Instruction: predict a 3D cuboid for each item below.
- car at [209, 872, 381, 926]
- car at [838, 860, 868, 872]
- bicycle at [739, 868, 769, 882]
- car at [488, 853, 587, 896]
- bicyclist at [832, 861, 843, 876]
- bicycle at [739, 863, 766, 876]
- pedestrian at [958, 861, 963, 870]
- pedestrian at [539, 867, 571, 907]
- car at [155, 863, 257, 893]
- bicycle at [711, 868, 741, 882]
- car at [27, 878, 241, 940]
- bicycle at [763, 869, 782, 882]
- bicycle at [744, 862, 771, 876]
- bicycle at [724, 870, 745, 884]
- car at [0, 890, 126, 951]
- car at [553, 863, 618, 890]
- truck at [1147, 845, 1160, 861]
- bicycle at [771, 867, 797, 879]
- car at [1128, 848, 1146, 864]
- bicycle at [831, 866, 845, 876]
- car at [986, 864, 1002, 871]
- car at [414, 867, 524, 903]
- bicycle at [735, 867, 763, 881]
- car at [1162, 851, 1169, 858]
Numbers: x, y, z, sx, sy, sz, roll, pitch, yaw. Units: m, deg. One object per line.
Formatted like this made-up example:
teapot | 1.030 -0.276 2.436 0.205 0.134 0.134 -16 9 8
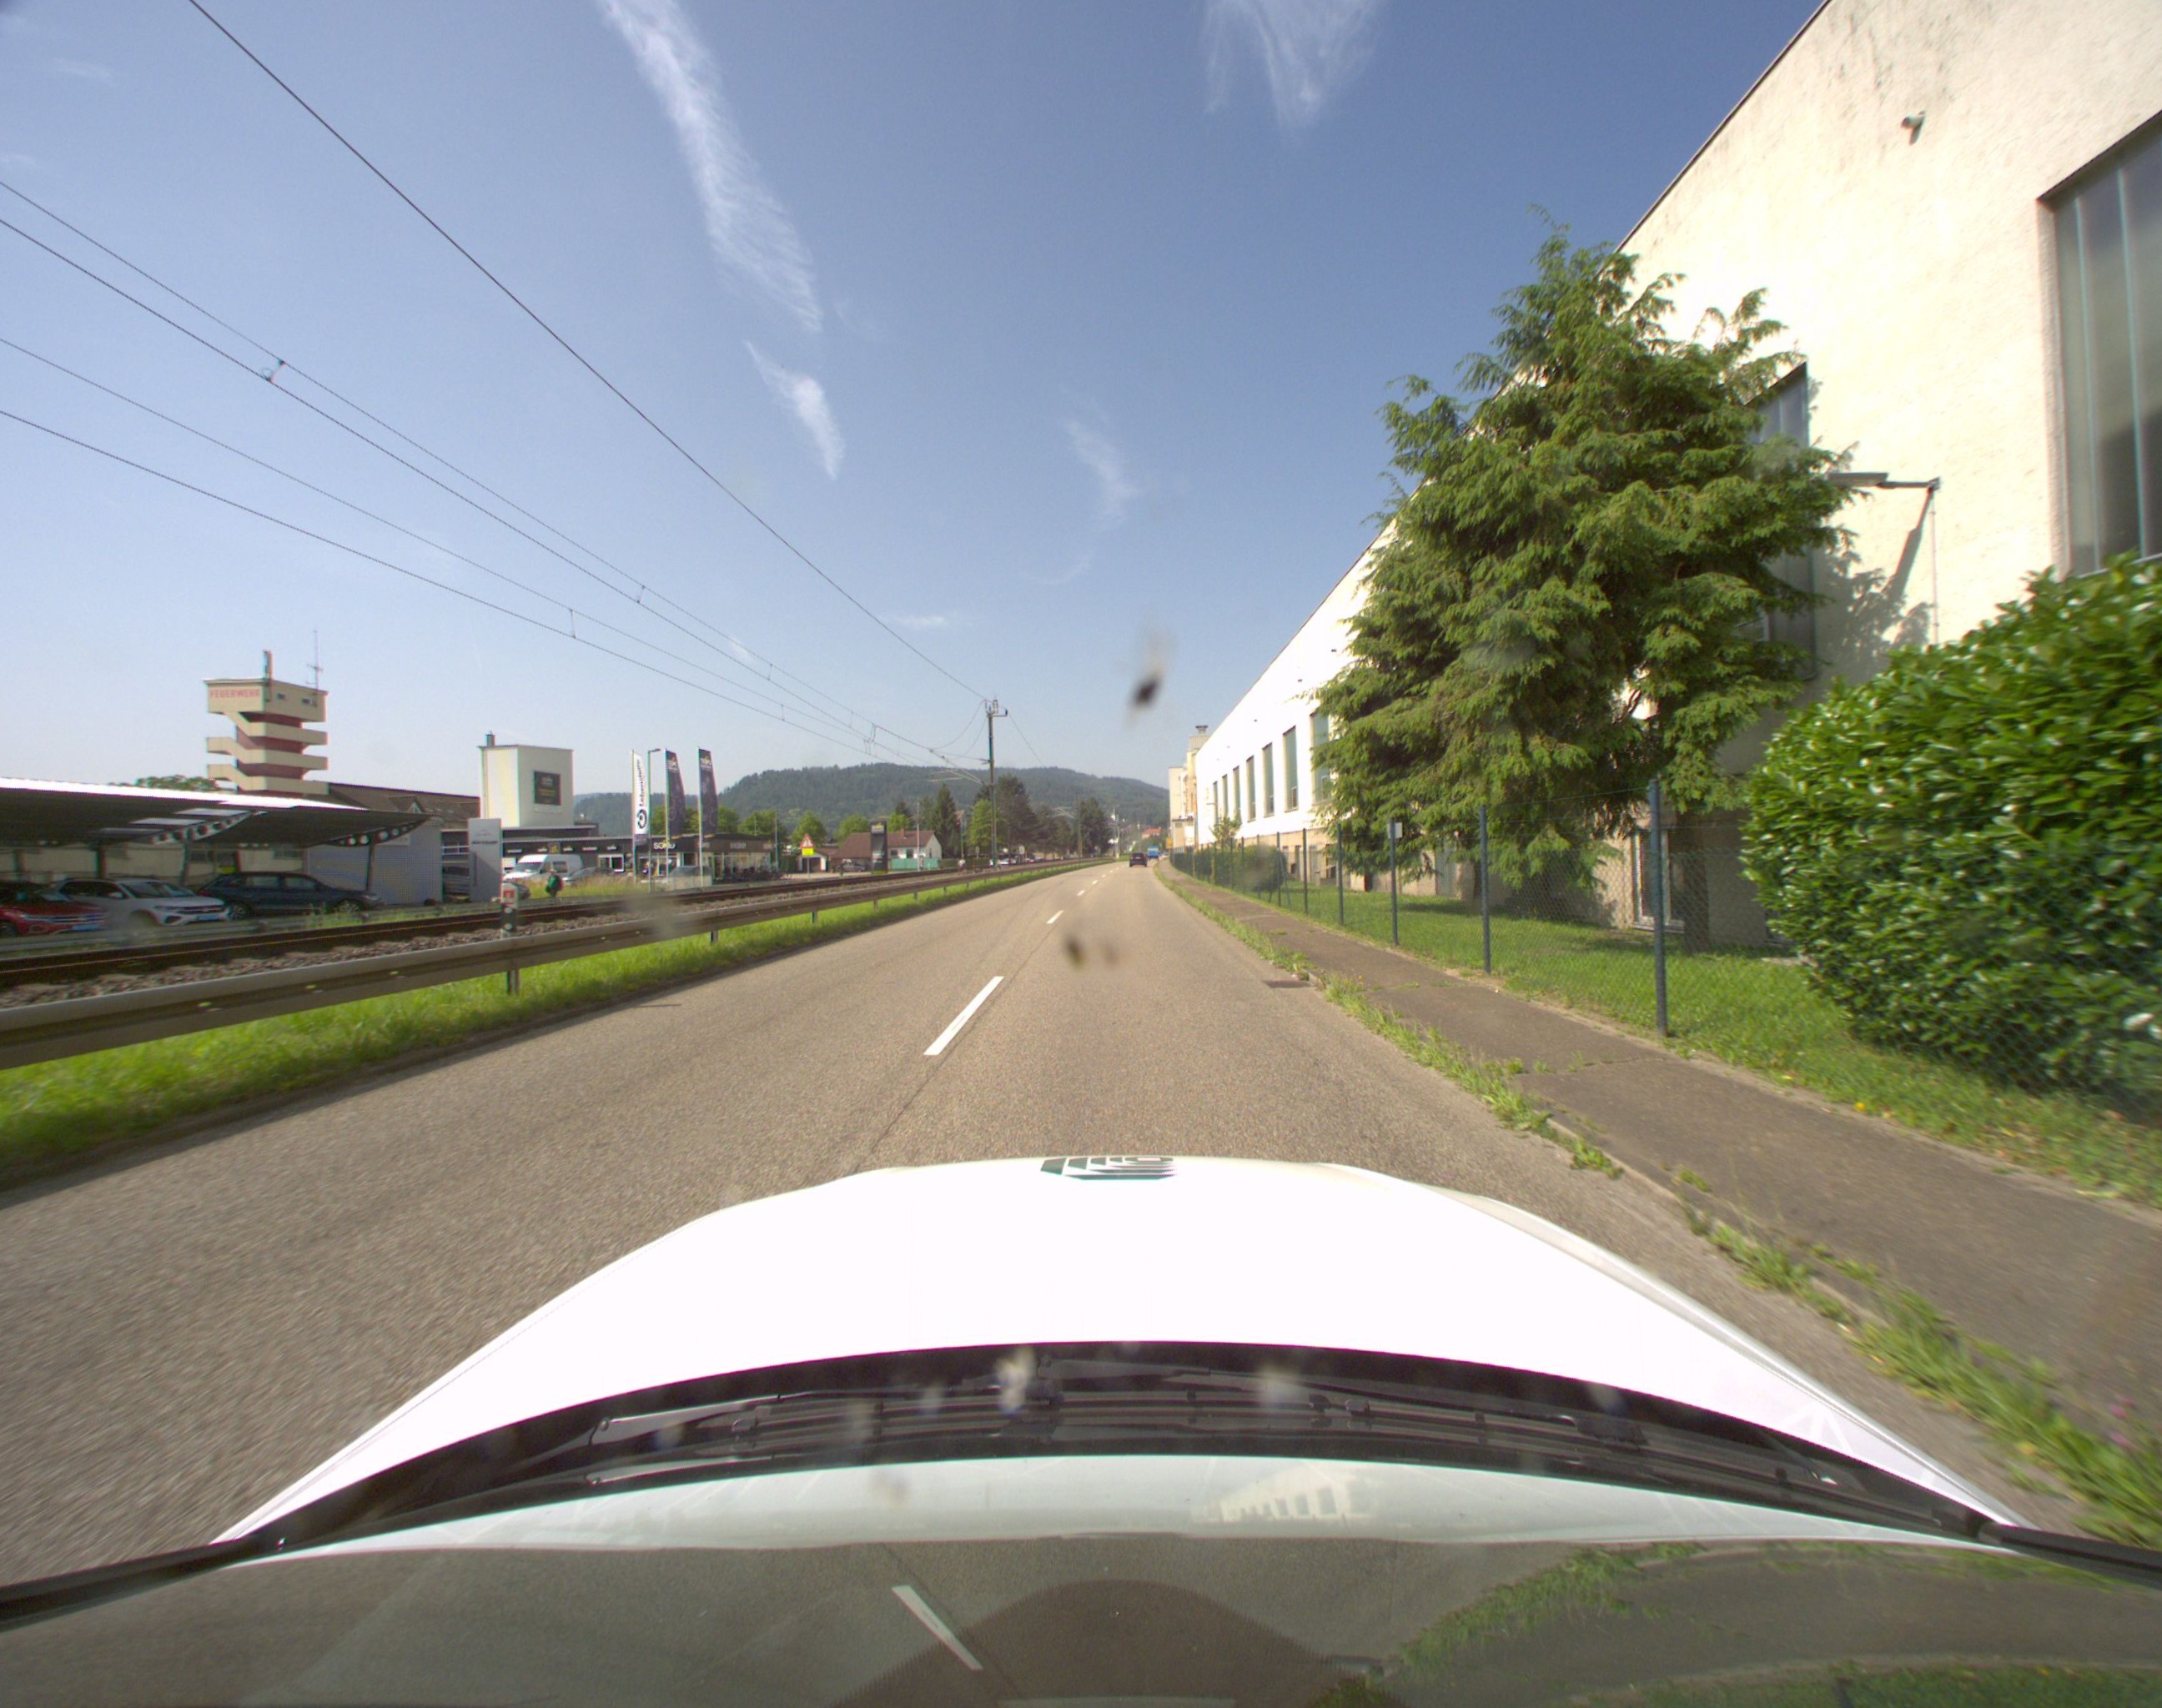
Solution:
car | -26.367 1.449 27.442 1.642 1.622 4.055 1 0 44
car | -32.938 1.726 117.636 3.816 1.651 1.715 -2 0 6
bicycle | -28.171 1.812 70.219 0.721 1.130 2.337 -2 -1 37
car | -36.191 1.391 54.470 2.364 2.633 6.160 -2 -2 1
bicyclist | -27.424 1.589 91.625 0.742 1.620 1.148 -2 0 7
bicycle | -29.848 1.423 73.975 2.165 1.130 0.728 -2 -1 -7
pedestrian | -16.766 1.583 113.286 0.572 1.332 0.674 -2 0 -2
pedestrian | -23.462 1.469 36.345 0.799 1.734 0.836 -2 0 1
car | -43.493 1.164 40.604 1.450 1.298 3.481 -2 0 -5
bicycle | -29.502 1.753 67.722 2.158 1.130 0.731 -2 -1 2
car | -26.309 1.504 22.723 3.943 1.528 1.663 1 0 0
bicycle | -27.724 1.920 73.253 0.725 1.130 2.175 -2 -1 2
bicycle | -29.788 1.384 74.999 2.165 1.130 0.728 -2 -1 -7
bicycle | -29.844 1.957 70.208 0.724 1.130 2.177 -2 -1 5
car | -26.324 1.598 19.984 3.943 1.325 1.502 1 0 0
car | -33.091 1.480 54.491 1.861 1.664 3.999 -2 -1 0
truck | 14.542 -0.194 163.120 2.301 2.970 5.975 -2 0 6
bicycle | -27.951 1.791 76.772 2.165 1.130 0.728 -2 -1 -7
car | 6.139 0.204 89.291 1.911 1.640 4.004 -1 0 3
bicycle | -27.393 1.898 91.662 0.751 1.017 1.966 -2 0 7
car | -18.669 2.953 174.067 1.696 1.443 3.810 -2 -1 -36
car | -29.049 1.483 38.801 4.014 1.530 1.508 4 -3 -33
bicycle | -29.736 1.809 73.024 2.158 1.130 0.731 -2 -1 2
car | 23.540 0.124 226.052 1.657 1.823 3.761 -1 0 9
